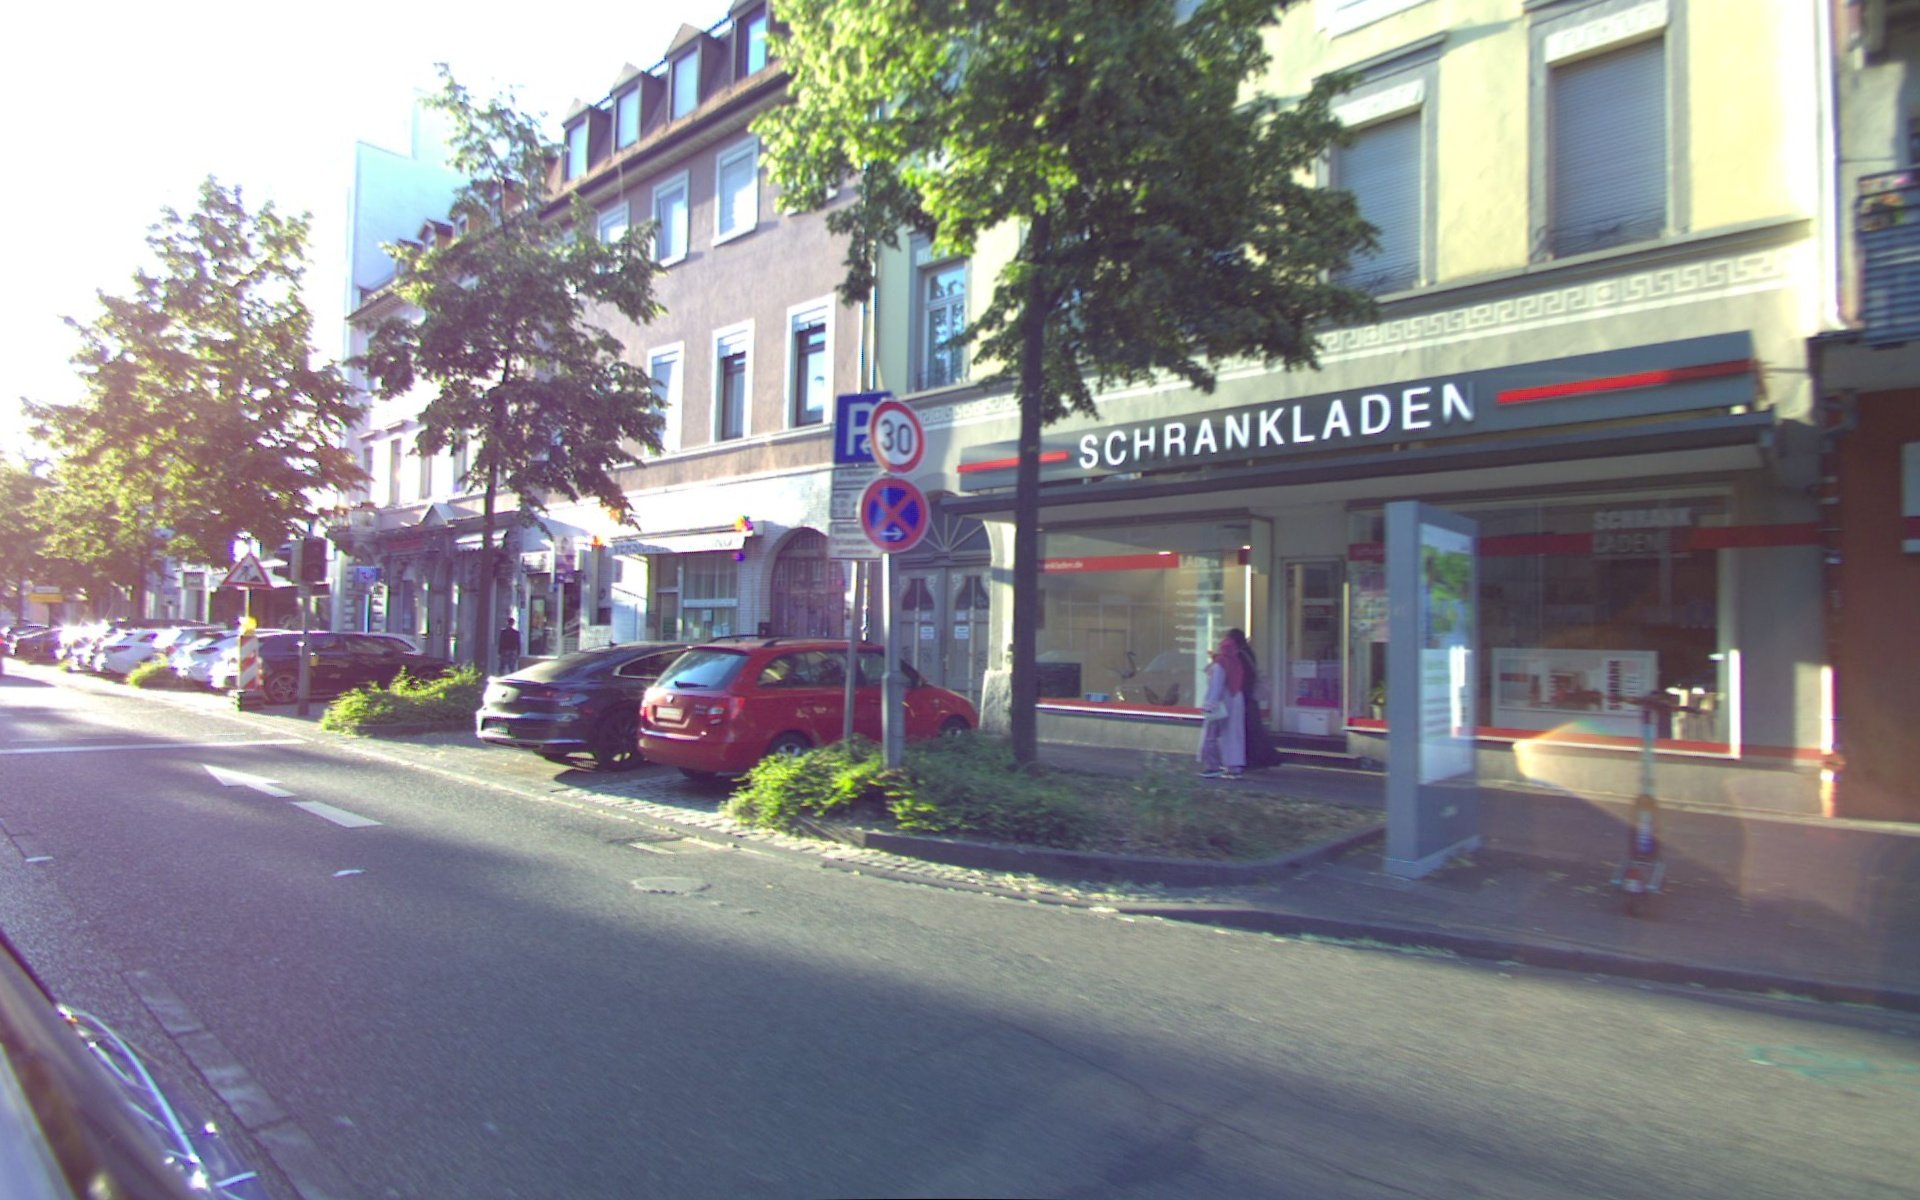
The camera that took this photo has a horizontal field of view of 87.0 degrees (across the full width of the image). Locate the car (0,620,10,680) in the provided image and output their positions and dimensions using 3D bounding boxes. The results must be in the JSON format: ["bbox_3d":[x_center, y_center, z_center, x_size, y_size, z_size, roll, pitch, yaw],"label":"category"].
[{"bbox_3d":[-29.902,1.399,30.105,4.458,1.705,1.842,-1,-5,41],"label":"car"}]

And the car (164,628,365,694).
[{"bbox_3d":[-16.924,1.431,24.762,1.804,1.455,3.701,-1,-2,39],"label":"car"}]

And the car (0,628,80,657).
[{"bbox_3d":[-49.261,2.232,53.511,1.742,1.468,3.828,-1,-2,39],"label":"car"}]

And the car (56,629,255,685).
[{"bbox_3d":[-22.521,1.551,28.471,1.765,1.432,4.108,-1,-2,39],"label":"car"}]

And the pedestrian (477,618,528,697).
[{"bbox_3d":[-10.479,1.296,23.169,0.875,1.734,0.763,0,-1,42],"label":"pedestrian"}]

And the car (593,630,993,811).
[{"bbox_3d":[-1.636,1.115,10.998,1.883,1.548,4.029,-1,-2,41],"label":"car"}]

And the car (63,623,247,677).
[{"bbox_3d":[-25.790,1.562,32.539,1.888,1.608,4.361,-2,-2,40],"label":"car"}]

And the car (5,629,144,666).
[{"bbox_3d":[-37.190,1.981,42.585,1.744,1.495,4.229,-2,-3,41],"label":"car"}]

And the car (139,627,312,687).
[{"bbox_3d":[-20.065,1.497,27.733,1.714,1.513,3.520,-1,-2,40],"label":"car"}]

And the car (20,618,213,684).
[{"bbox_3d":[-24.901,1.449,29.987,1.888,1.786,4.108,-1,-2,39],"label":"car"}]

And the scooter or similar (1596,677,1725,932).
[{"bbox_3d":[4.121,1.106,5.919,0.525,1.235,1.384,-1,-2,38],"label":"scooter or similar"}]

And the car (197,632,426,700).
[{"bbox_3d":[-14.682,1.447,23.064,1.843,1.414,4.052,-1,-3,43],"label":"car"}]

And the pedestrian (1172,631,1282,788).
[{"bbox_3d":[2.828,1.119,10.722,0.875,1.539,0.726,0,-1,42],"label":"pedestrian"}]

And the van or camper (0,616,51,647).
[{"bbox_3d":[-59.976,1.973,63.358,1.789,1.971,4.410,-2,-3,43],"label":"van or camper"}]

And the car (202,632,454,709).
[{"bbox_3d":[-13.046,1.383,21.094,1.882,1.414,4.066,-1,-2,39],"label":"car"}]

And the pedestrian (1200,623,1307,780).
[{"bbox_3d":[3.230,1.072,11.136,0.875,1.620,0.763,0,-1,42],"label":"pedestrian"}]

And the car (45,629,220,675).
[{"bbox_3d":[-28.939,1.777,35.516,1.743,1.495,4.500,-2,-3,41],"label":"car"}]

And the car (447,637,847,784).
[{"bbox_3d":[-3.678,1.210,12.625,1.820,1.418,4.524,-1,-2,40],"label":"car"}]

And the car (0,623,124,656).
[{"bbox_3d":[-41.982,1.826,47.280,1.742,1.495,4.232,-1,-2,39],"label":"car"}]
